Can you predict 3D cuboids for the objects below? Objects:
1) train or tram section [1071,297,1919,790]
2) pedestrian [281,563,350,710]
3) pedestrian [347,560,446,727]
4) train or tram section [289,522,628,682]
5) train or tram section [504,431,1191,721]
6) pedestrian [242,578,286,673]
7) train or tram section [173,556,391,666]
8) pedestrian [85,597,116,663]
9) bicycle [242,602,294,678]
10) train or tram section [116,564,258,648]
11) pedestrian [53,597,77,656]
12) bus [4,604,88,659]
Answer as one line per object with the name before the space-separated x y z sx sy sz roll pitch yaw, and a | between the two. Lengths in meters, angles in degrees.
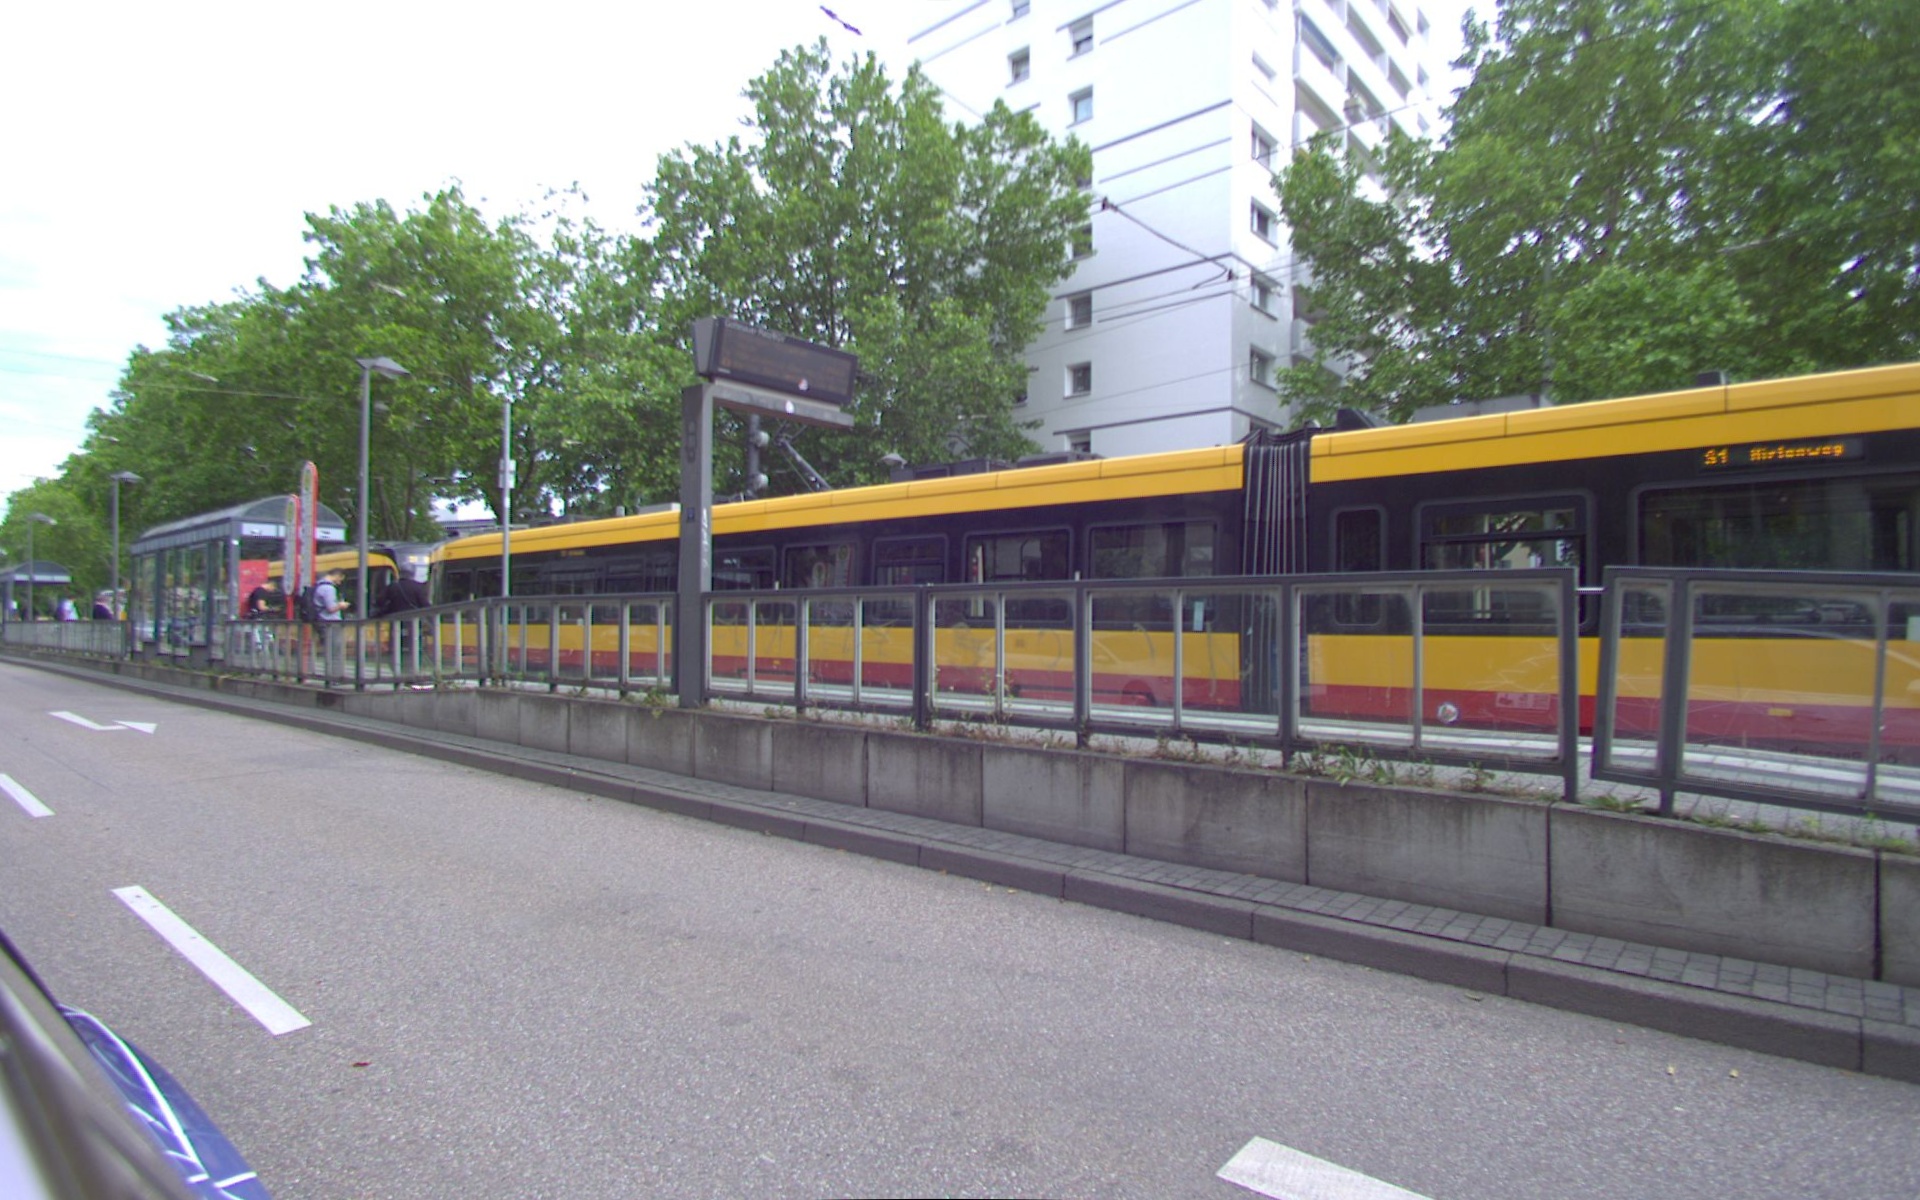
train or tram section | 8.312 -0.427 8.300 15.841 3.616 3.028 -1 0 41
pedestrian | -9.240 0.500 14.541 0.742 2.029 0.821 -1 0 -26
pedestrian | -7.082 0.538 12.744 0.808 2.029 0.754 -1 0 4
train or tram section | -14.874 0.128 28.710 15.287 3.558 3.028 -1 0 41
train or tram section | -3.392 -0.215 18.594 15.287 3.558 3.028 -1 0 41
pedestrian | -12.316 0.448 17.899 0.471 1.645 0.526 -1 0 39
train or tram section | -26.528 0.443 38.952 15.764 3.558 3.028 -1 0 41
pedestrian | -21.873 0.745 25.754 0.730 1.645 0.506 -1 0 43
bicycle | -11.689 0.665 17.083 1.289 1.231 0.414 -1 0 41
train or tram section | -37.131 0.314 48.335 12.534 3.589 3.060 -1 0 42
pedestrian | -25.547 0.752 28.886 0.392 1.645 0.474 -1 0 42
bus | -35.450 1.178 39.212 3.998 2.029 1.973 -1 0 41
